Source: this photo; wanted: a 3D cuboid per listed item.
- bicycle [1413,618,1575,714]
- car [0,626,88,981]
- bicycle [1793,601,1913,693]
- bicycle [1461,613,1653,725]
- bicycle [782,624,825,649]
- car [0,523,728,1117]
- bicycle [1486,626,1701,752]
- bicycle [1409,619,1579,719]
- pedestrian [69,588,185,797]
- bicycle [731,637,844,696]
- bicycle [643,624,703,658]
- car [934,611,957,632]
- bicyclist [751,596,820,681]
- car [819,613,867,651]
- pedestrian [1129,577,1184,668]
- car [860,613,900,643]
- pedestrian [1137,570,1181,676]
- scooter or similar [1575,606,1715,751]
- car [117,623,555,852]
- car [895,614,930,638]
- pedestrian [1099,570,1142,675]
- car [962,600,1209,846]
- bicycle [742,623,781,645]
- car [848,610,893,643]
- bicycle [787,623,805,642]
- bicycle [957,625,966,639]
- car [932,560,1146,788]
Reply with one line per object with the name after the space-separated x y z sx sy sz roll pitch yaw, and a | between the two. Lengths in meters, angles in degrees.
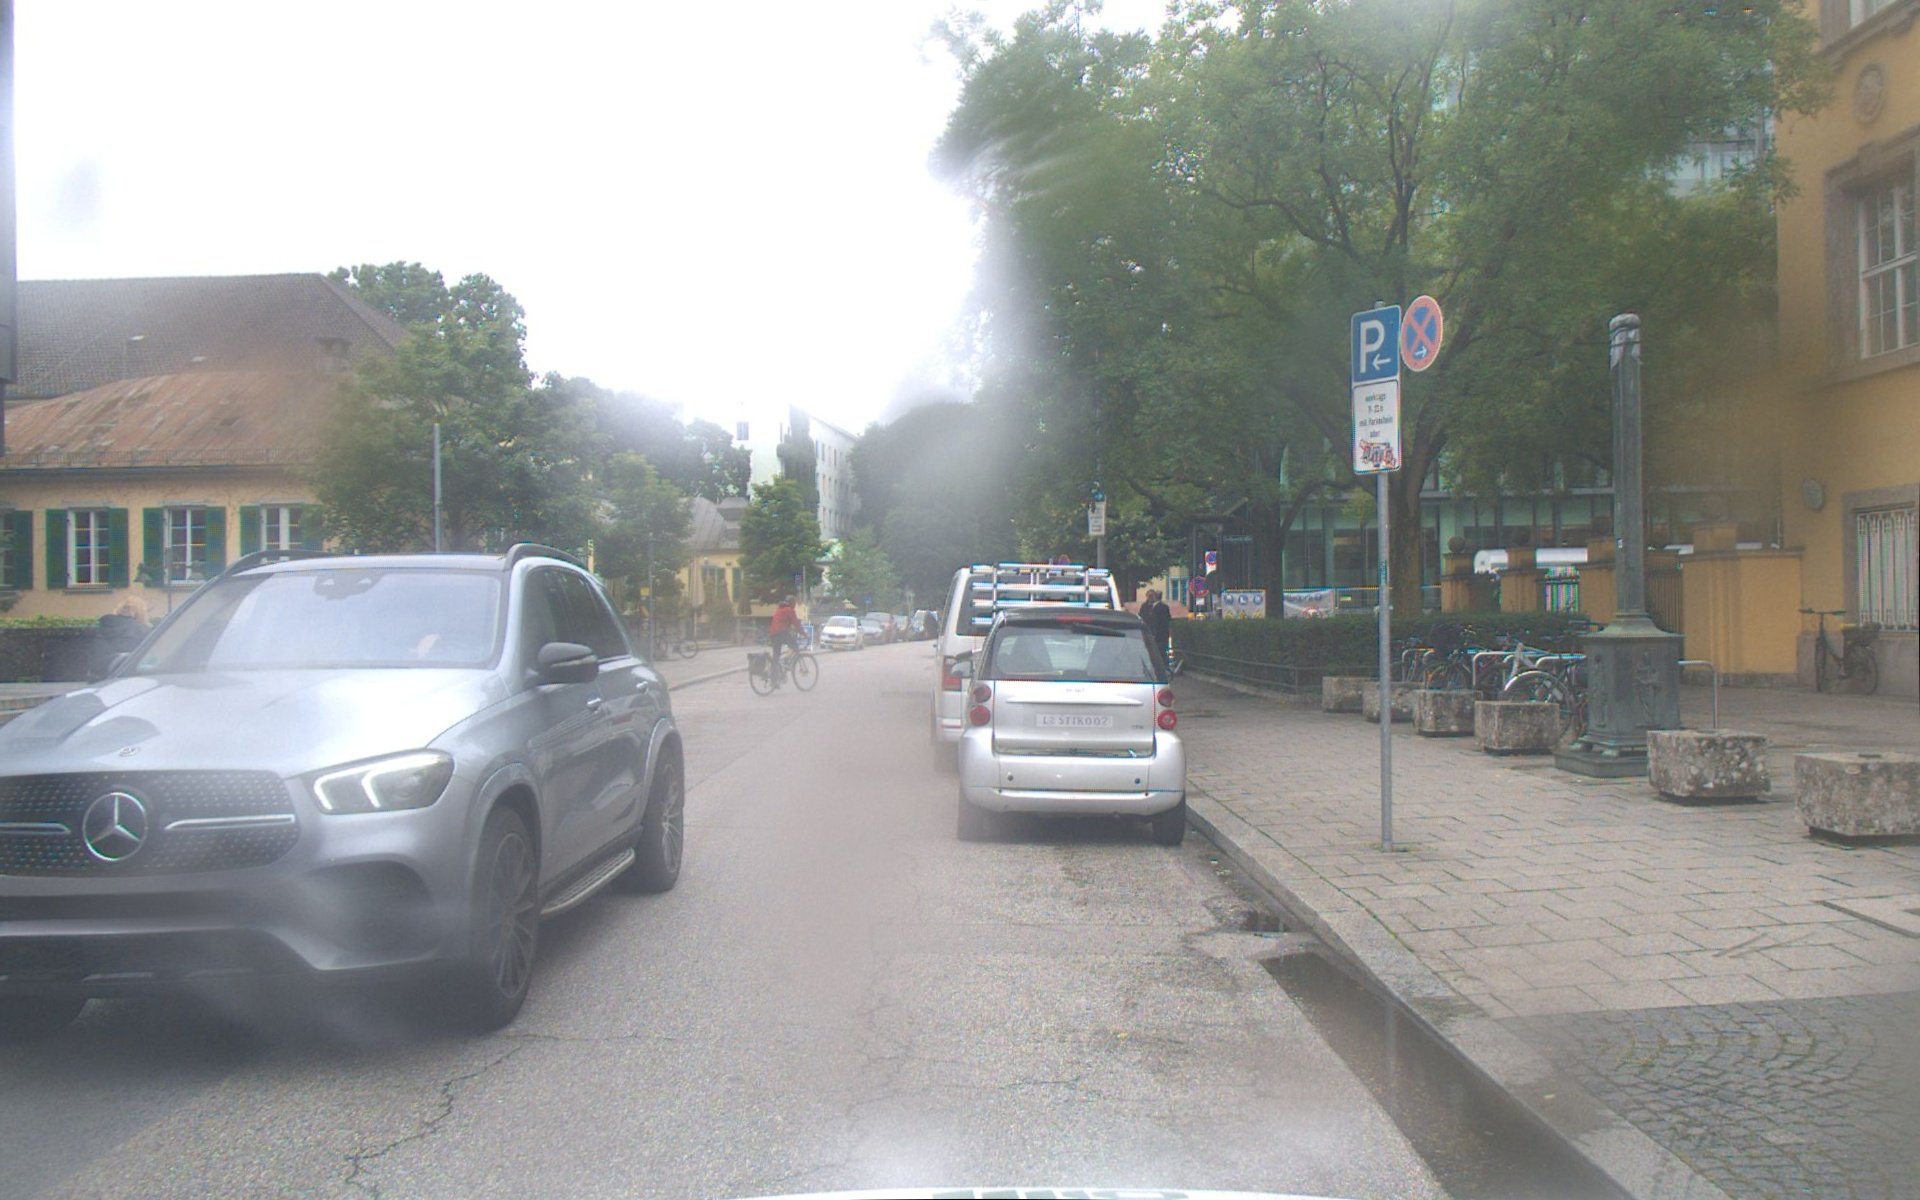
6.829 0.836 21.188 1.892 1.133 0.471 -2 -1 1 | bicycle
-4.943 0.895 5.514 1.704 1.486 4.237 -3 -1 1 | car
12.108 0.617 22.489 0.531 1.174 1.901 -1 0 -1 | bicycle
6.528 0.750 18.117 1.891 1.133 0.471 -2 -1 1 | bicycle
-6.645 1.568 70.478 0.610 1.022 2.134 2 0 32 | bicycle
-2.396 0.672 7.250 1.983 1.719 4.677 -2 0 1 | car
6.167 0.855 16.128 1.893 1.133 0.471 -2 -1 -4 | bicycle
6.572 0.843 20.395 1.891 1.133 0.471 -2 -1 1 | bicycle
-7.385 0.798 14.701 0.741 1.780 0.948 -1 -1 -16 | pedestrian
-3.148 1.207 30.339 2.123 1.022 0.614 1 -3 -43 | bicycle
-9.631 1.370 55.569 1.890 1.118 0.615 1 -1 2 | bicycle
-1.244 1.827 141.891 1.772 1.712 4.001 -1 0 2 | car
-3.197 0.703 30.319 1.086 1.524 0.663 1 -3 -43 | bicyclist
-5.283 1.424 75.002 1.697 1.609 3.788 2 0 3 | car
4.290 0.487 36.096 0.729 1.941 1.052 -2 -1 35 | pedestrian
-4.449 1.578 92.727 1.952 1.631 4.000 -1 -1 1 | car
4.189 0.487 34.882 0.727 2.172 1.055 -2 -1 -1 | pedestrian
6.138 0.696 14.838 0.995 1.243 0.534 -3 -1 45 | scooter or similar
-4.885 0.981 13.812 1.884 1.464 4.915 -3 -1 -2 | car
-3.147 1.702 110.536 1.951 1.512 4.002 -1 0 4 | car
3.413 0.475 35.295 0.727 2.172 1.055 -2 -1 -1 | pedestrian
0.818 0.808 12.218 1.572 1.573 2.933 1 0 0 | car
-8.951 1.534 74.590 1.593 0.942 0.646 0 -2 -25 | bicycle
-4.711 1.400 87.596 1.952 1.677 4.656 -1 -1 2 | car
-8.601 1.711 86.698 0.608 1.022 1.619 -1 -2 5 | bicycle
0.133 2.383 122.486 0.609 1.022 2.139 -1 0 -1 | bicycle
0.663 0.676 17.319 1.808 1.967 5.271 2 0 -1 | car
